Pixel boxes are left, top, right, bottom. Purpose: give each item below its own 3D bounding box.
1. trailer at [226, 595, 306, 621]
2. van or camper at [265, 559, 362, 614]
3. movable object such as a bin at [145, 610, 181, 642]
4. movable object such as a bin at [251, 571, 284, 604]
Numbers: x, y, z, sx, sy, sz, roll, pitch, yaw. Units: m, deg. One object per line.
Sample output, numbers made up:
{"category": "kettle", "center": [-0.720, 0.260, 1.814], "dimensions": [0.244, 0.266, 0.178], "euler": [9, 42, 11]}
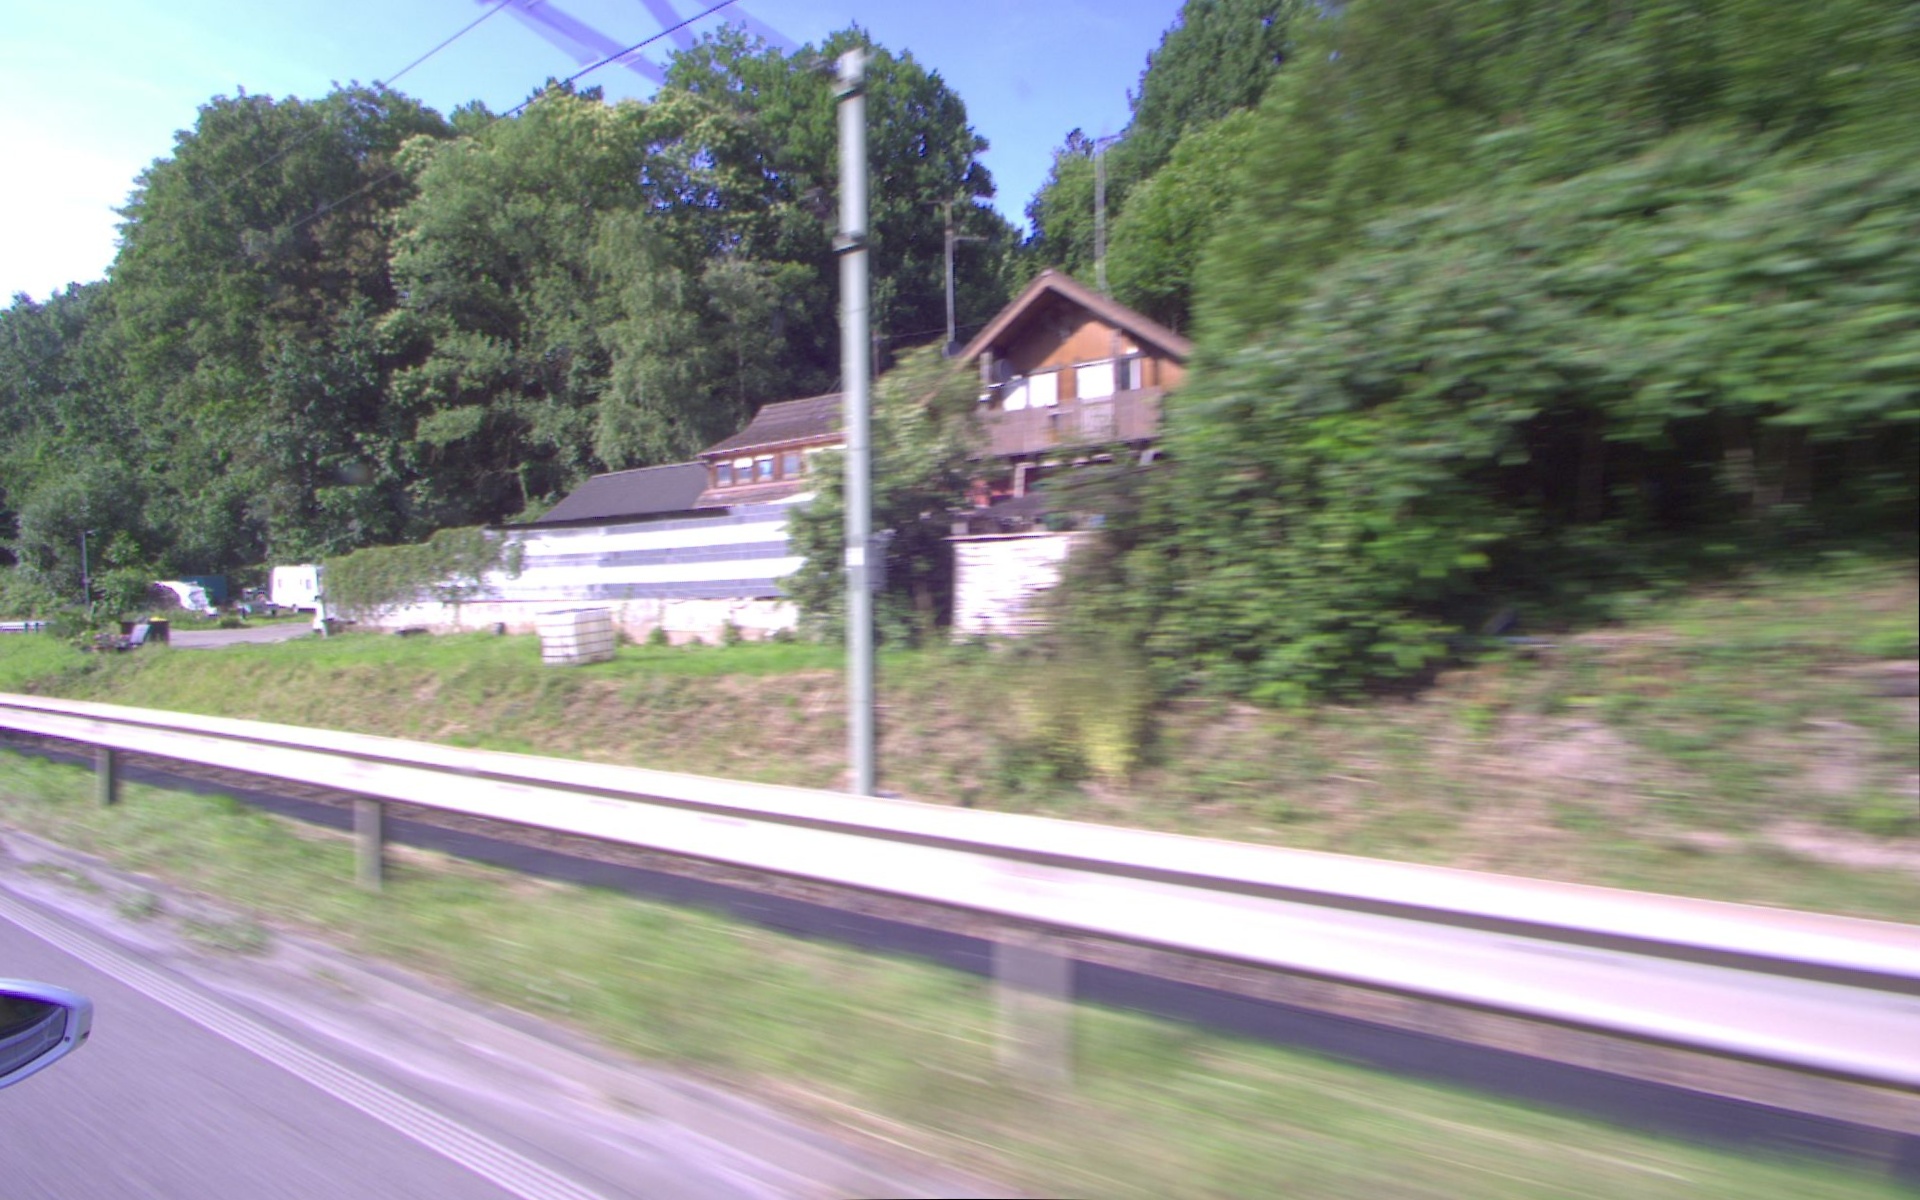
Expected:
{"category": "trailer", "center": [-35.193, 0.428, 50.763], "dimensions": [3.662, 1.207, 2.063], "euler": [-1, -2, 32]}
{"category": "van or camper", "center": [-34.507, -0.665, 53.416], "dimensions": [5.691, 2.676, 2.187], "euler": [-1, -1, 32]}
{"category": "movable object such as a bin", "center": [-28.302, 0.911, 35.561], "dimensions": [0.923, 1.122, 0.851], "euler": [0, 0, 40]}
{"category": "movable object such as a bin", "center": [-38.834, -0.684, 56.151], "dimensions": [1.772, 1.825, 0.864], "euler": [-1, 0, 32]}
